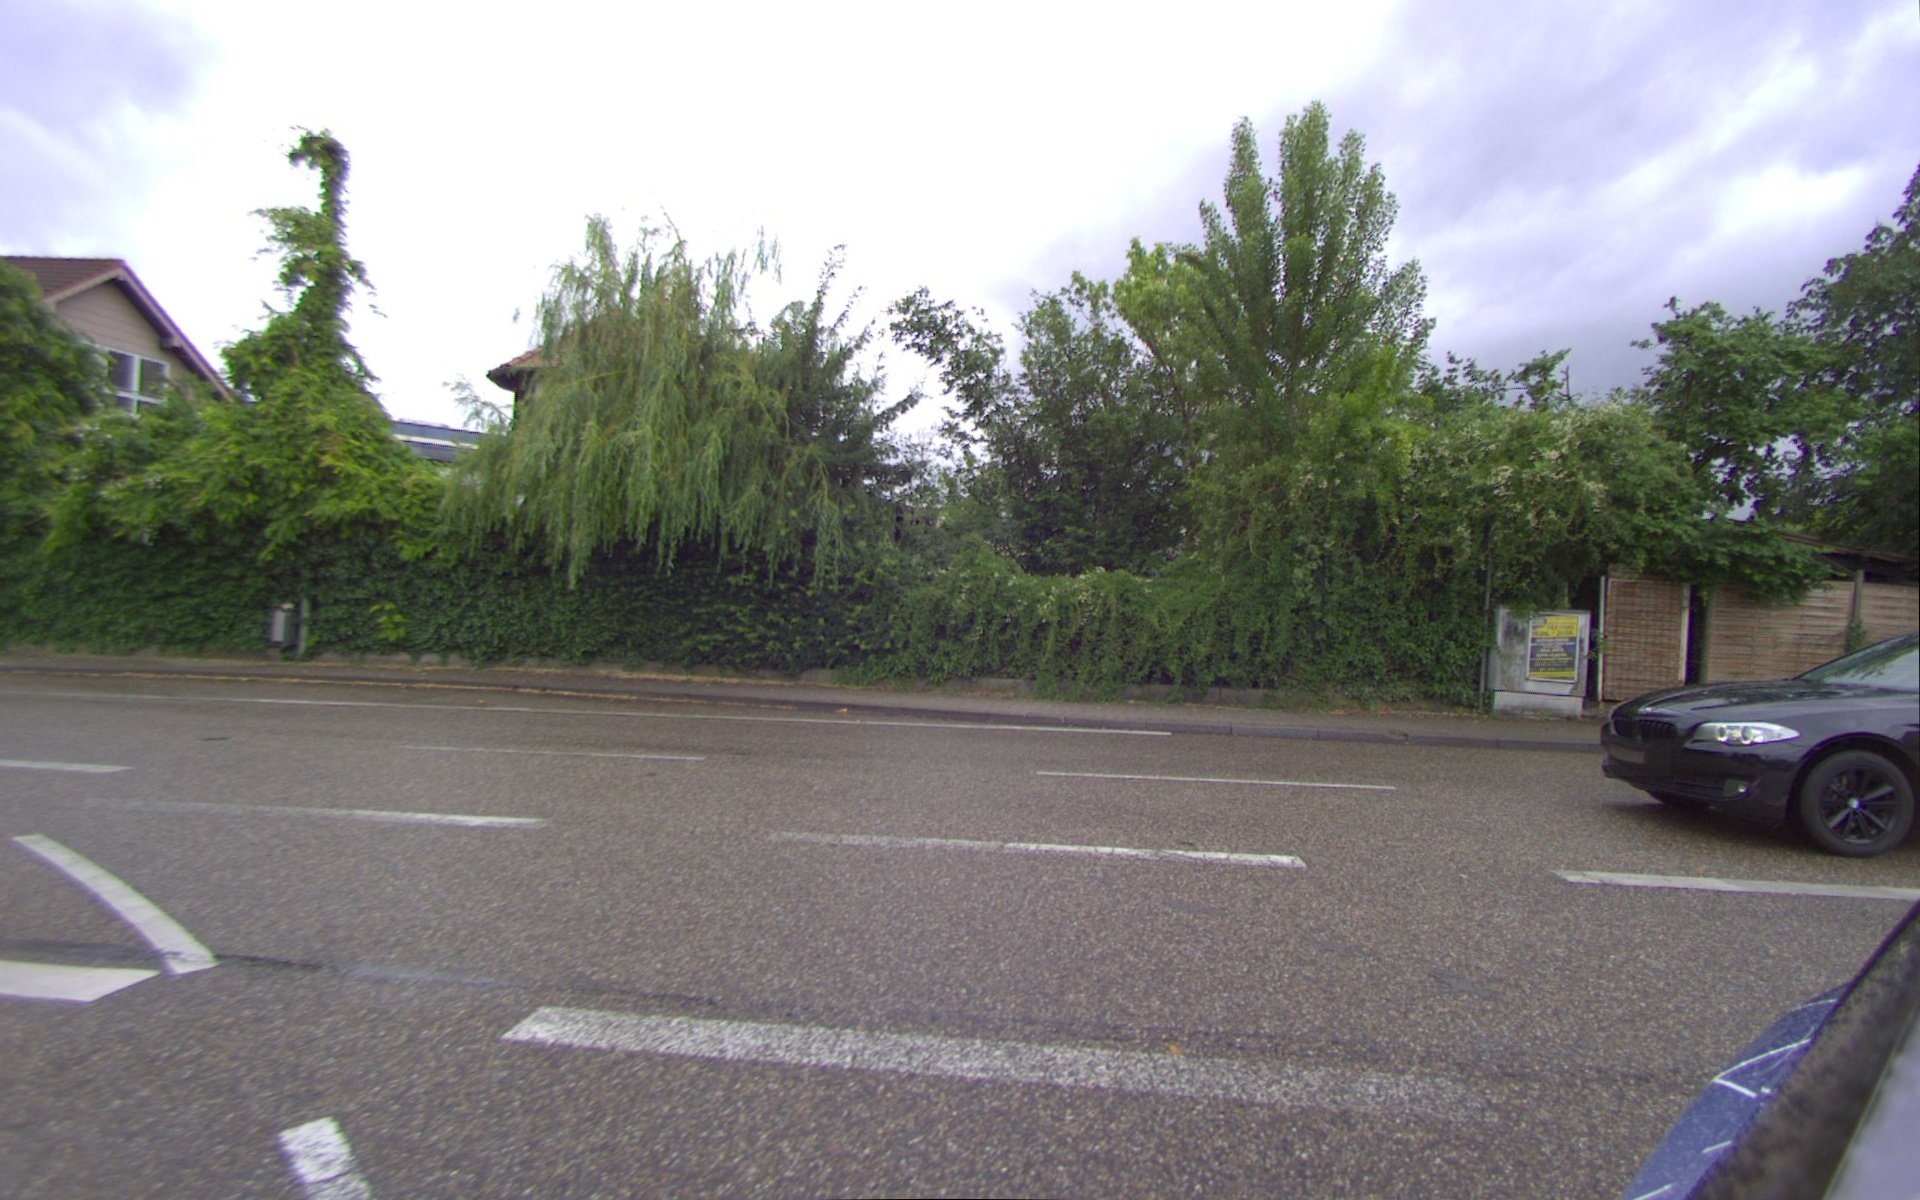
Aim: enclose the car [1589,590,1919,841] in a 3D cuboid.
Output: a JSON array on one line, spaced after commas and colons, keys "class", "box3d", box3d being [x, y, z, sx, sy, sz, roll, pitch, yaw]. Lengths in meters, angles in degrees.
[{"class": "car", "box3d": [7.174, 0.740, 6.811, 4.638, 1.478, 1.793, 1, -1, 6]}]
